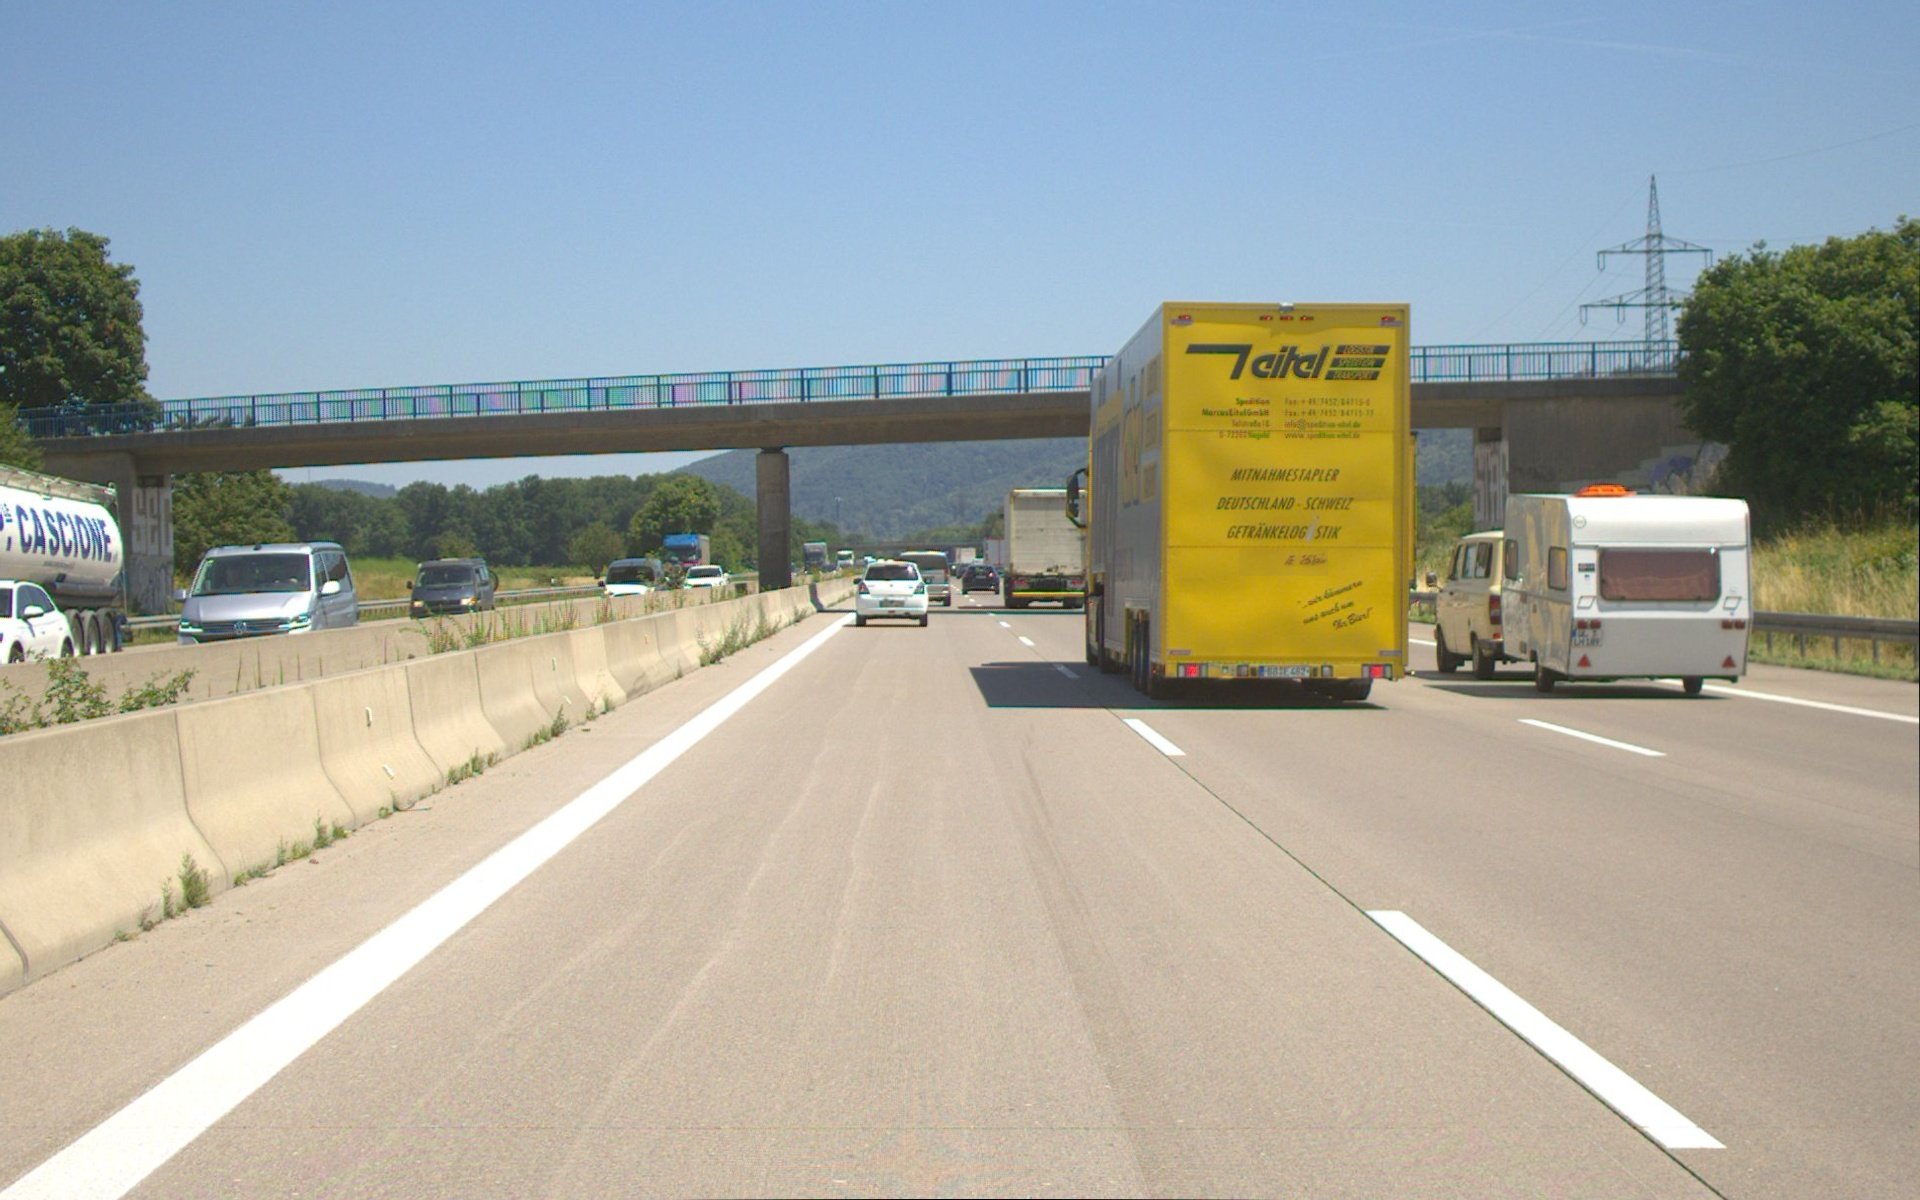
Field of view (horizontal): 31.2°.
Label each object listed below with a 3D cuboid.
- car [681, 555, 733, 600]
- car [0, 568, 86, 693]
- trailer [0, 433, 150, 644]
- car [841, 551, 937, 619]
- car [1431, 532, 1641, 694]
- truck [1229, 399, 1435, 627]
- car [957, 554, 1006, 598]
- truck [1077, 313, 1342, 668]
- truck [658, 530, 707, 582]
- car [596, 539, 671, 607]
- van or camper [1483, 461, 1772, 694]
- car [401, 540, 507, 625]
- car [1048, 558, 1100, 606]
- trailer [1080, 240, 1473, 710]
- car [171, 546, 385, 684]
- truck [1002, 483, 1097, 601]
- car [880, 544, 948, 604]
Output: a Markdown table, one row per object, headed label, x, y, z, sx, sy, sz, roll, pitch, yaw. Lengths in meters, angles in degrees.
| label | x | y | z | sx | sy | sz | roll | pitch | yaw |
| --- | --- | --- | --- | --- | --- | --- | --- | --- | --- |
| car | -10.758 | -0.985 | 146.506 | 1.866 | 1.833 | 4.789 | -1 | 1 | -1 |
| car | -13.681 | 0.419 | 47.705 | 1.923 | 1.606 | 4.686 | -2 | 1 | -1 |
| trailer | -17.792 | -1.160 | 63.871 | 2.573 | 3.618 | 12.857 | 1 | 1 | -1 |
| car | -1.644 | -0.376 | 81.123 | 2.107 | 1.530 | 4.122 | 1 | 1 | 1 |
| car | 7.480 | 0.124 | 45.029 | 1.993 | 2.007 | 4.000 | 1 | 1 | -1 |
| truck | 7.445 | -1.742 | 70.137 | 2.999 | 4.299 | 9.684 | 1 | 1 | 0 |
| car | 0.994 | -1.163 | 163.503 | 2.222 | 2.007 | 4.000 | 1 | 1 | -1 |
| truck | 3.321 | -1.468 | 47.335 | 3.216 | 4.548 | 5.836 | 1 | 1 | 1 |
| truck | -19.634 | -3.125 | 243.564 | 2.985 | 3.548 | 7.493 | 1 | 1 | -1 |
| car | -10.058 | -0.848 | 106.180 | 1.866 | 1.973 | 4.789 | -2 | 1 | -1 |
| van or camper | 7.705 | -0.296 | 40.265 | 2.224 | 2.522 | 5.431 | 1 | 1 | -1 |
| car | -13.707 | -0.507 | 93.394 | 1.993 | 2.130 | 5.882 | -2 | 1 | -1 |
| car | 4.911 | -0.804 | 148.539 | 1.993 | 2.007 | 4.000 | 1 | 1 | -1 |
| trailer | 3.328 | -1.340 | 40.325 | 3.216 | 4.548 | 13.457 | 1 | 1 | 0 |
| car | -9.471 | 0.160 | 48.139 | 1.993 | 1.729 | 5.115 | -2 | 1 | -1 |
| truck | 2.894 | -1.907 | 113.002 | 2.820 | 3.748 | 6.284 | 1 | 1 | -1 |
| car | -1.565 | -0.926 | 118.913 | 2.254 | 2.007 | 4.298 | 1 | 1 | 0 |
